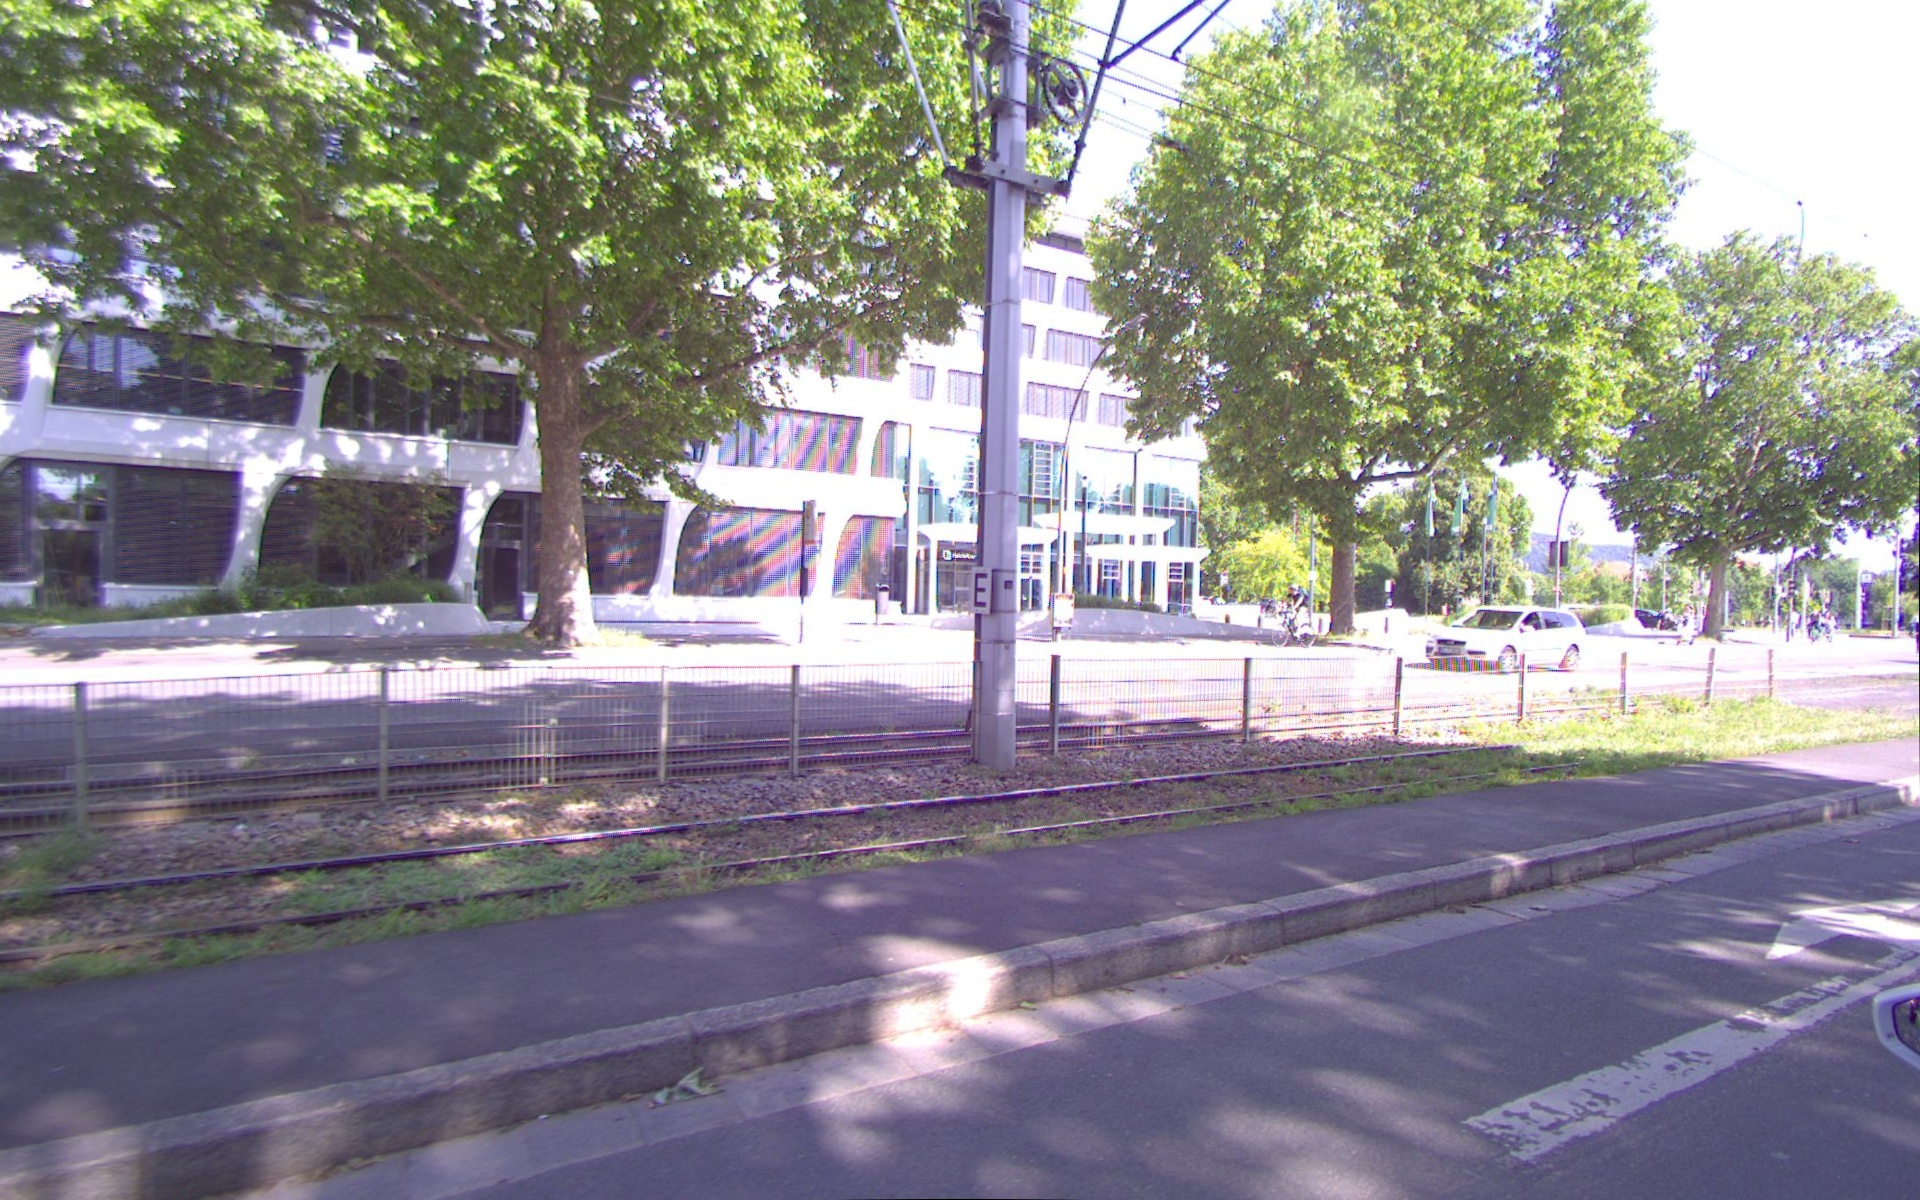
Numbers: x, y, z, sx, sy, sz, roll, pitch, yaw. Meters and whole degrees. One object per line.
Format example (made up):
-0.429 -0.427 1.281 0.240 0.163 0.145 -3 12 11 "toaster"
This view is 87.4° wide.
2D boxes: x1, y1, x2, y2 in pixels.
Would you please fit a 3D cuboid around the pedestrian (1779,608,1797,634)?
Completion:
49.838 1.280 60.475 0.637 1.562 0.619 1 1 -31 "pedestrian"

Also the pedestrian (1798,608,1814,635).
50.244 1.289 59.640 0.616 1.562 0.777 2 1 45 "pedestrian"

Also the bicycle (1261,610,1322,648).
9.996 0.874 30.254 1.861 1.109 0.664 1 1 -30 "bicycle"

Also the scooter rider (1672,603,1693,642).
30.839 0.954 42.866 0.559 1.653 0.504 1 1 -29 "scooter rider"

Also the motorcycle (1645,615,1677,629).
46.553 1.460 66.708 0.642 0.903 1.636 1 1 -29 "motorcycle"

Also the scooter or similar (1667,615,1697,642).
30.834 1.213 42.878 1.233 1.127 0.545 1 1 -30 "scooter or similar"

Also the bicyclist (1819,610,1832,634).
47.544 1.209 55.165 0.460 1.329 0.383 1 1 -32 "bicyclist"

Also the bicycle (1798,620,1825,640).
43.033 1.523 50.763 1.635 0.974 0.482 1 1 -30 "bicycle"

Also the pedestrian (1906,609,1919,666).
27.969 1.083 29.065 0.747 1.645 0.593 2 1 35 "pedestrian"

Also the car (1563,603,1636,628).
43.679 1.049 68.679 1.748 1.569 3.830 1 1 -29 "car"

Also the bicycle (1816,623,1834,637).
47.557 1.641 55.198 1.133 0.758 0.418 1 1 -32 "bicycle"

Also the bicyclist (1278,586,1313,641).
10.122 0.410 30.332 0.828 1.625 0.572 1 1 -29 "bicyclist"

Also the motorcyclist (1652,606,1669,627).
46.540 1.093 66.735 0.597 1.332 0.749 1 1 -29 "motorcyclist"

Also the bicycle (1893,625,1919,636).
68.996 2.243 73.200 1.590 0.741 0.493 1 1 -1 "bicycle"

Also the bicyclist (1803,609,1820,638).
43.041 1.188 50.779 0.585 1.435 0.477 1 1 -30 "bicyclist"

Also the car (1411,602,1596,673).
12.775 0.845 23.562 4.332 1.508 1.788 1 1 -30 "car"
